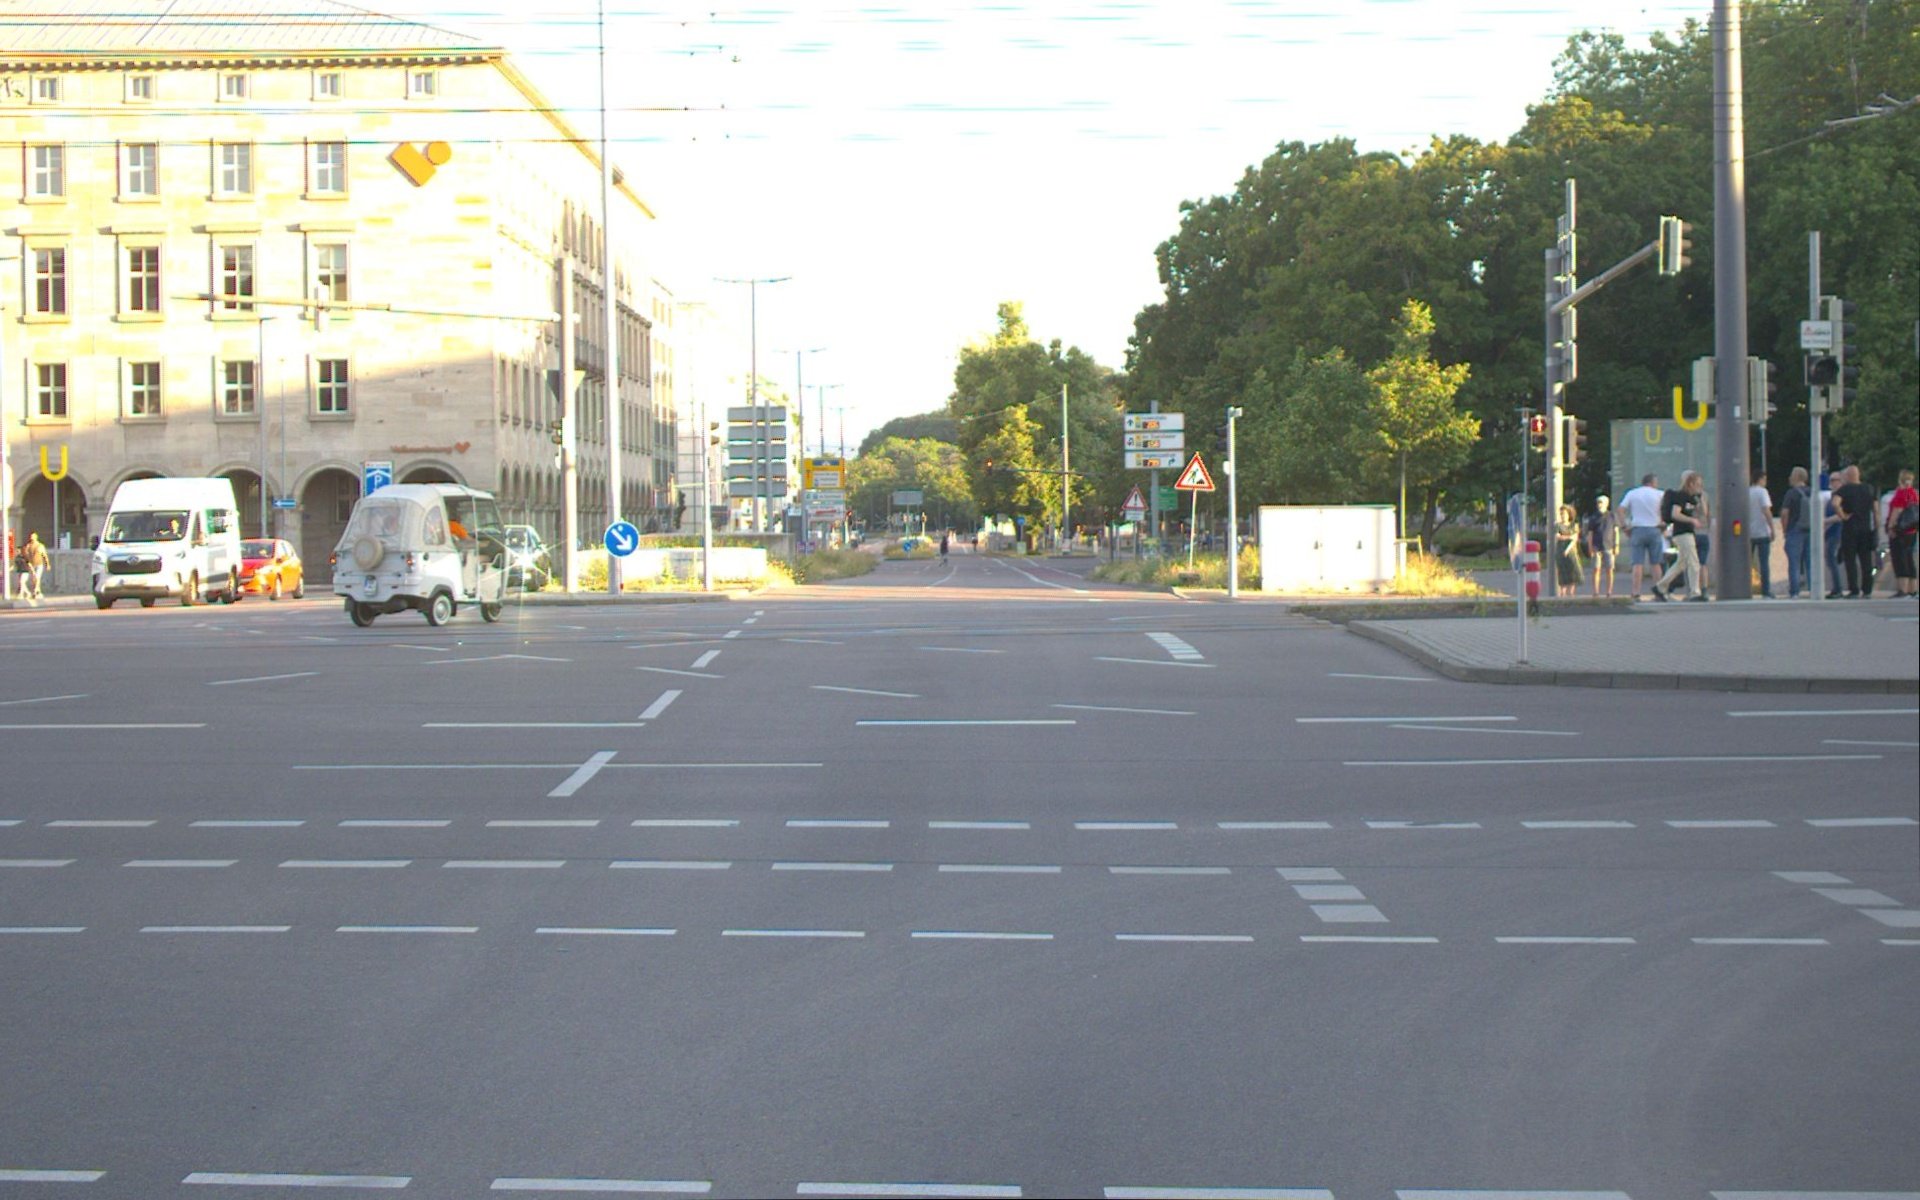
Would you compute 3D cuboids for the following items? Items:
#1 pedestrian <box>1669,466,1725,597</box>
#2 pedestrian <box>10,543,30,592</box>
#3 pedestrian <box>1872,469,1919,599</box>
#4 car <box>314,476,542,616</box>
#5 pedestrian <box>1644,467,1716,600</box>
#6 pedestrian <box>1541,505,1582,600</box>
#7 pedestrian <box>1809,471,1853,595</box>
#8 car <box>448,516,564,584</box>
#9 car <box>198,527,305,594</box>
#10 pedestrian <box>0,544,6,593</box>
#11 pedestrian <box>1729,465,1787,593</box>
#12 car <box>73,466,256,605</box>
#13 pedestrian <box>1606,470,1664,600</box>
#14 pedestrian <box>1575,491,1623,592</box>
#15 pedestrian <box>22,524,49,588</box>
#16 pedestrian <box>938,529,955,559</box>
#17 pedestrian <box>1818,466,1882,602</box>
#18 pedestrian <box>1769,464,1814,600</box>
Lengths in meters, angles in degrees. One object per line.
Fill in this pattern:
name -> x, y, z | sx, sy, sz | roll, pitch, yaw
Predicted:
pedestrian -> 9.814, -0.916, 45.790 | 0.711, 1.719, 0.668 | 0, 2, 13
pedestrian -> -24.897, -0.869, 91.092 | 0.420, 1.296, 0.460 | 1, 0, -5
pedestrian -> 12.670, -0.889, 46.007 | 0.845, 1.728, 0.705 | 0, 2, 12
car -> -6.654, -0.701, 43.228 | 1.485, 1.690, 2.971 | 0, 2, 22
pedestrian -> 9.440, -0.876, 45.046 | 0.912, 1.719, 0.713 | 0, 2, 13
pedestrian -> 10.615, -0.842, 60.638 | 0.560, 1.649, 0.901 | 0, 2, 20
pedestrian -> 11.939, -0.922, 47.125 | 0.572, 1.673, 0.638 | 0, 2, 14
car -> -9.558, -1.080, 72.630 | 1.823, 1.337, 4.000 | -1, 2, 2
car -> -16.697, -0.958, 81.180 | 1.738, 1.482, 4.001 | -1, 2, -1
pedestrian -> -25.772, -0.838, 91.710 | 0.505, 1.296, 0.701 | 1, 0, -5
pedestrian -> 10.810, -0.966, 46.532 | 0.711, 1.719, 0.914 | 0, 2, 16
car -> -16.695, -1.390, 72.476 | 2.279, 2.766, 6.084 | -1, 2, 1
pedestrian -> 9.031, -0.874, 45.978 | 0.711, 1.719, 0.668 | 0, 2, 15
pedestrian -> 11.263, -1.037, 60.589 | 0.680, 1.751, 0.901 | 0, 2, 20
pedestrian -> -24.950, -1.186, 92.791 | 0.621, 1.738, 0.460 | 1, 0, -5
pedestrian -> -0.744, -3.160, 194.658 | 0.906, 1.665, 1.307 | -1, 2, -1
pedestrian -> 11.818, -0.883, 45.672 | 0.805, 1.785, 0.800 | 0, 2, 14
pedestrian -> 11.039, -0.907, 45.623 | 0.572, 1.785, 0.638 | 0, 2, 14
